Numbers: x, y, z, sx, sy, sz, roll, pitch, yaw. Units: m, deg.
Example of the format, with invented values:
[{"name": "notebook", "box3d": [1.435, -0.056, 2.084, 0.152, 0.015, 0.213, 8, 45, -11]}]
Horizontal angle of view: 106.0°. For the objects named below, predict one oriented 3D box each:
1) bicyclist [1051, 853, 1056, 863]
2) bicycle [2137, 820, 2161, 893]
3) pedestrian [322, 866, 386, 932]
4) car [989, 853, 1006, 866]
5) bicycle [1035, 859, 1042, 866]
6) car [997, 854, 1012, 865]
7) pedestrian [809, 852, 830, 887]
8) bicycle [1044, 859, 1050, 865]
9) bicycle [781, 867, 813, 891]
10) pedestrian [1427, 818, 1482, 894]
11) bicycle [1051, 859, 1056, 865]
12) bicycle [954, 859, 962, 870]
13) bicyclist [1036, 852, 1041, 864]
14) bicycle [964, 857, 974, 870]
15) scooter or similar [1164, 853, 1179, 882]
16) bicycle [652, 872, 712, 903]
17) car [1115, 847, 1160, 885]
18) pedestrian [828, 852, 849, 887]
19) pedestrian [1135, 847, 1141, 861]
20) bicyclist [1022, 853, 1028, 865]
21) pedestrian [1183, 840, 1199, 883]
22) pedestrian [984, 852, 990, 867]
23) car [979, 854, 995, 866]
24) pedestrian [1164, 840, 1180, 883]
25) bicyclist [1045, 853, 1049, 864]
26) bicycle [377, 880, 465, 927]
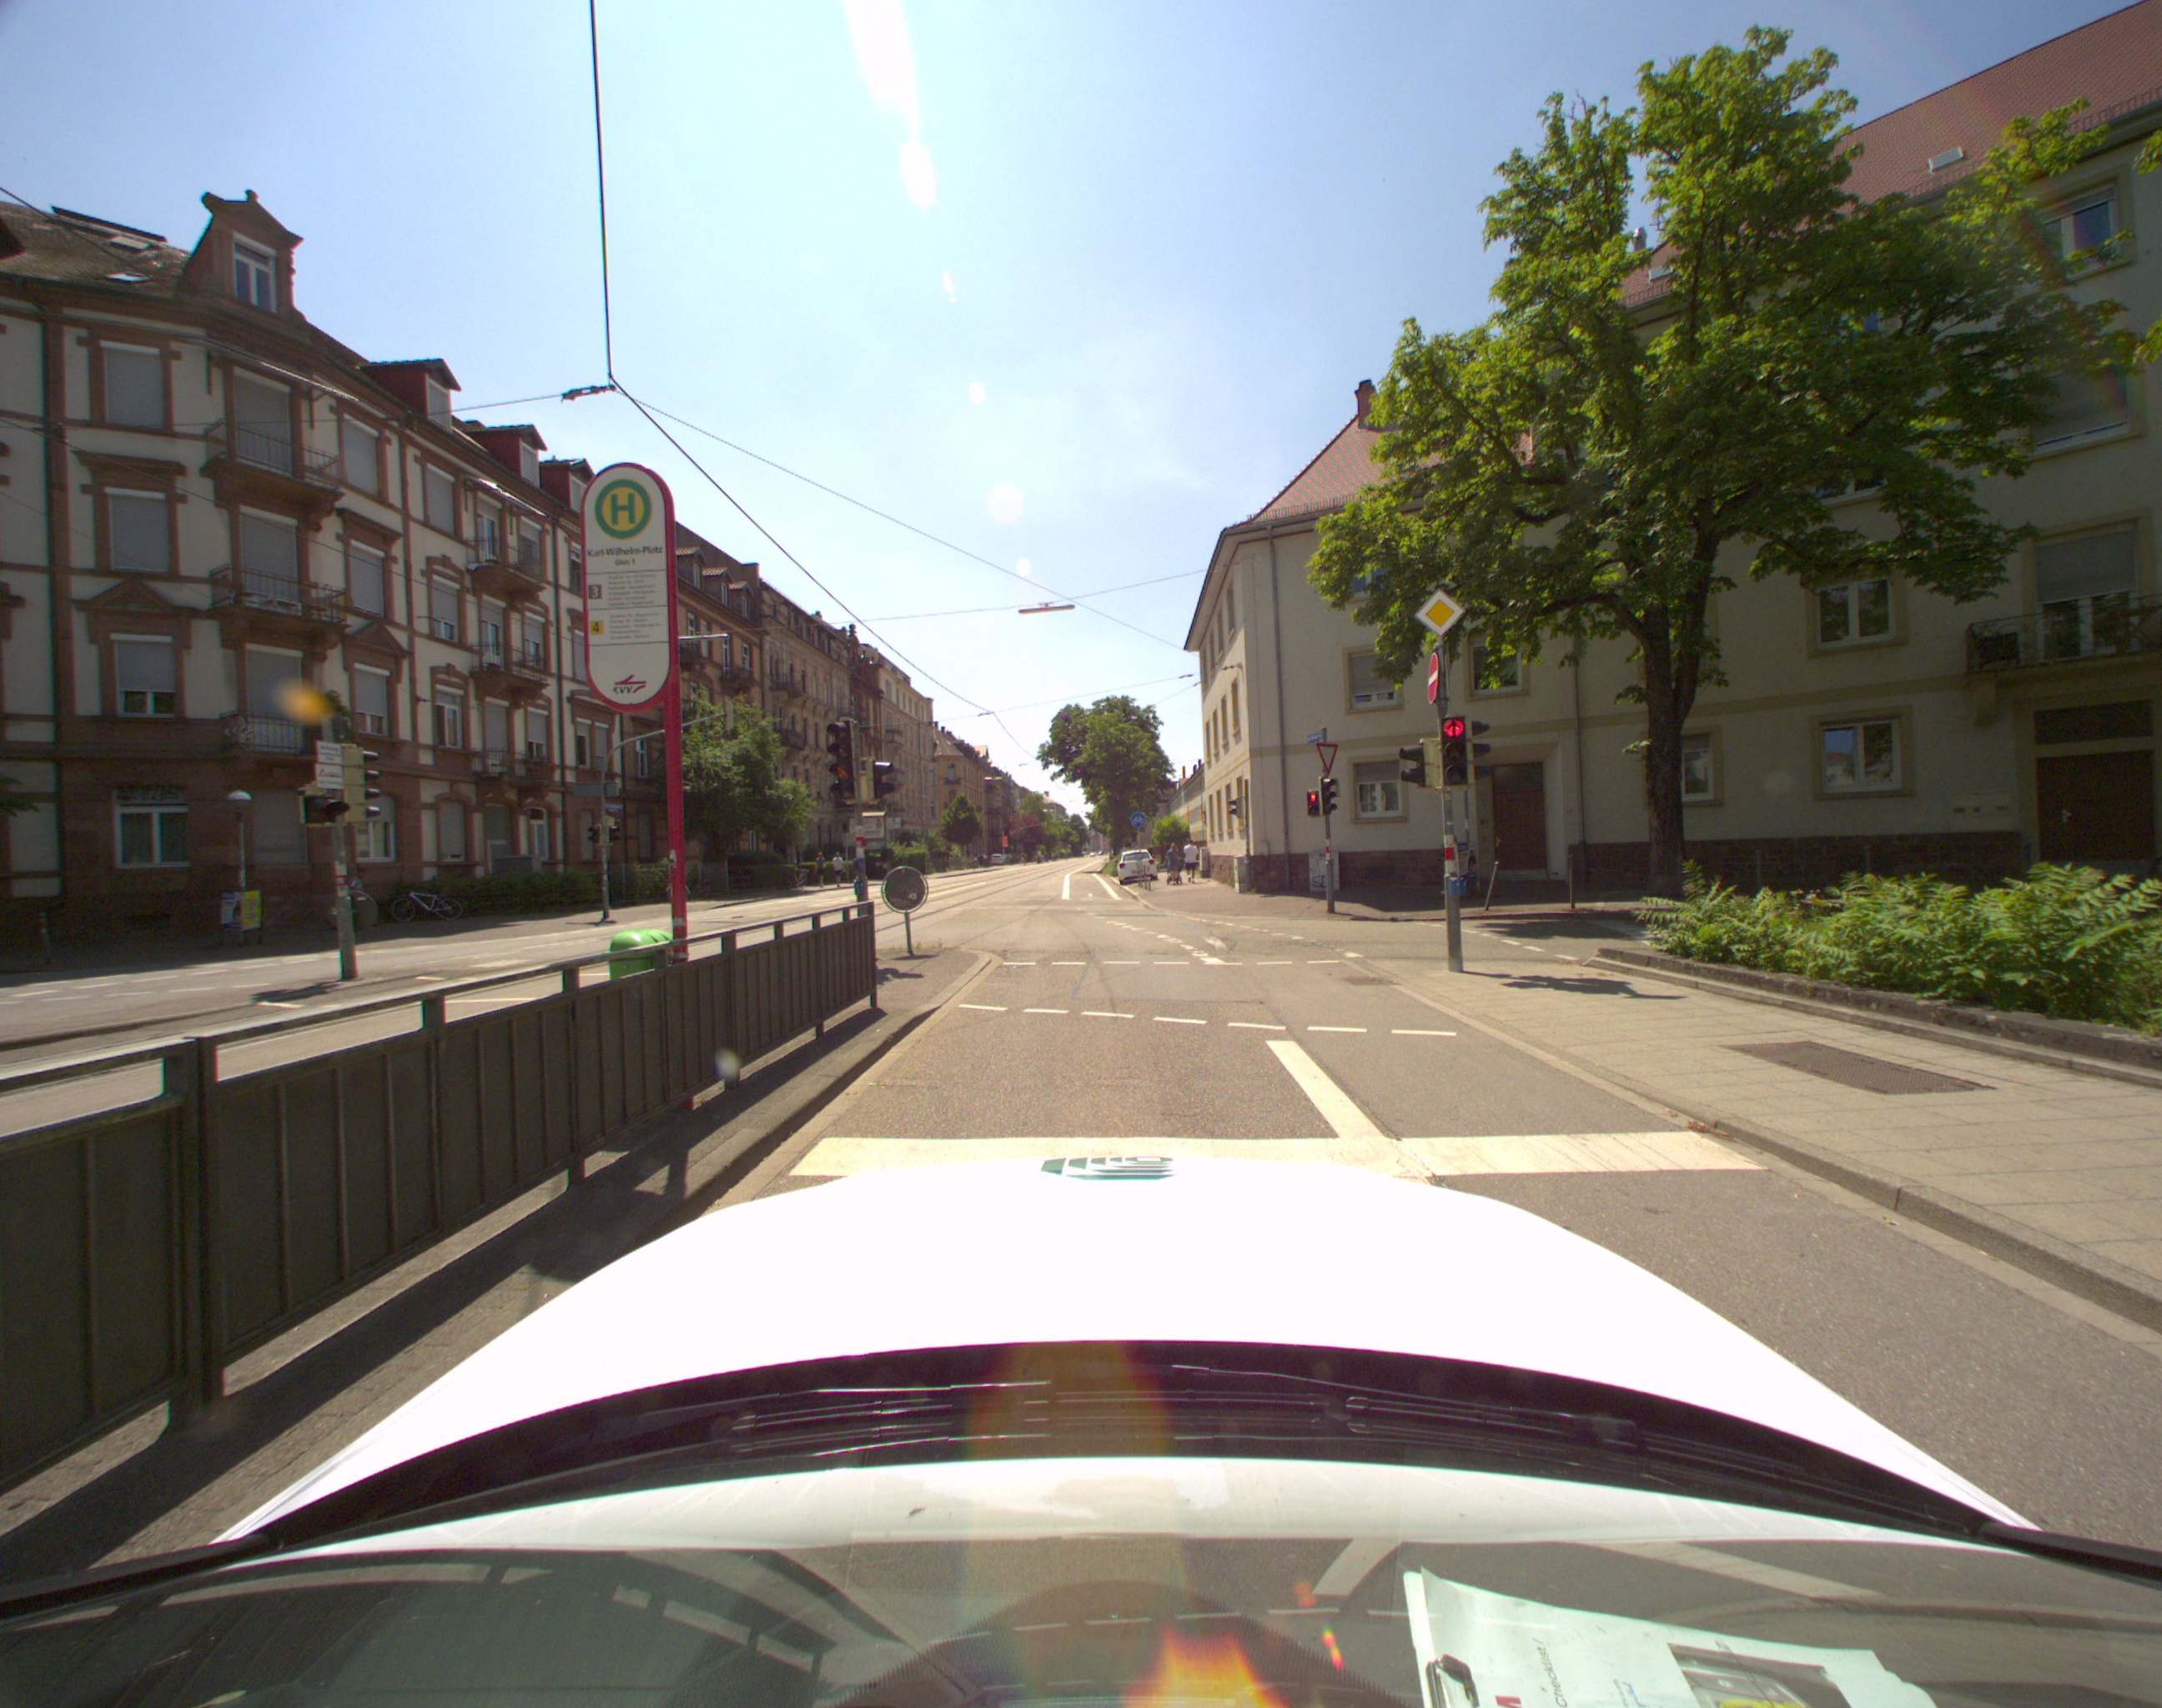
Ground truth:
[{"name": "bicyclist", "box3d": [-4.958, 0.765, 145.055, 0.724, 1.818, 1.080, 0, -1, 3]}, {"name": "bicycle", "box3d": [17.014, 0.020, 12.086, 0.527, 1.104, 1.589, -2, 0, -34]}, {"name": "pedestrian", "box3d": [-19.768, 1.212, 22.159, 0.713, 1.689, 1.068, -2, 0, 29]}, {"name": "car", "box3d": [-11.875, 0.807, 116.068, 1.912, 1.715, 4.001, 0, -1, 2]}, {"name": "bicycle", "box3d": [-6.385, 1.261, 122.161, 0.724, 1.123, 2.087, 0, -1, 4]}, {"name": "car", "box3d": [-11.654, 0.872, 124.332, 1.912, 1.715, 4.001, 0, -1, 2]}, {"name": "pedestrian", "box3d": [-13.908, 0.826, 43.352, 0.814, 1.822, 0.873, 0, 1, -2]}, {"name": "bicycle", "box3d": [-6.058, 1.425, 145.041, 0.724, 1.123, 2.087, 0, -1, 4]}, {"name": "bicycle", "box3d": [-14.381, 1.256, 41.260, 0.936, 1.136, 2.767, 0, -1, -7]}, {"name": "pedestrian", "box3d": [9.054, 0.045, 19.757, 1.044, 1.690, 0.657, -6, 3, 24]}, {"name": "bicycle", "box3d": [-4.942, 1.396, 145.048, 0.724, 1.123, 2.087, 0, -1, 4]}, {"name": "bicycle", "box3d": [-12.149, 1.029, 80.502, 0.677, 1.064, 1.912, -2, 0, -9]}, {"name": "bicyclist", "box3d": [-6.389, 0.640, 122.197, 0.724, 1.768, 1.080, 0, -1, 3]}, {"name": "bicycle", "box3d": [-11.704, 0.956, 85.139, 0.675, 1.278, 1.918, -2, 0, -1]}, {"name": "scooter or similar", "box3d": [3.621, 0.539, 32.555, 0.553, 1.155, 1.208, -1, -1, 9]}, {"name": "bicycle", "box3d": [-15.665, 1.302, 32.085, 0.934, 1.136, 2.774, 0, -1, 1]}, {"name": "car", "box3d": [2.529, 0.530, 37.408, 1.808, 1.516, 4.001, -4, -1, 2]}, {"name": "pedestrian", "box3d": [-12.982, 0.811, 43.593, 0.814, 1.822, 0.873, 0, 1, -2]}, {"name": "pedestrian", "box3d": [6.181, 0.017, 88.552, 0.519, 1.562, 0.573, -2, 0, 1]}, {"name": "bicyclist", "box3d": [-7.466, 0.703, 108.799, 0.724, 1.629, 1.080, 0, -1, 3]}, {"name": "pedestrian", "box3d": [4.303, 0.296, 31.856, 0.555, 1.645, 0.677, 0, -1, 1]}, {"name": "pedestrian", "box3d": [-10.698, 0.654, 92.748, 0.519, 1.659, 0.529, -2, 0, 1]}, {"name": "car", "box3d": [-14.326, 0.893, 124.470, 1.912, 1.715, 4.001, 0, -1, 2]}, {"name": "pedestrian", "box3d": [3.535, 0.303, 31.633, 0.555, 1.645, 0.677, 0, -1, 1]}, {"name": "bicyclist", "box3d": [-6.060, 0.785, 145.062, 0.724, 1.818, 1.080, 0, -1, 3]}, {"name": "bicycle", "box3d": [-19.550, 1.441, 24.164, 0.557, 1.294, 1.975, -1, -1, 43]}]
